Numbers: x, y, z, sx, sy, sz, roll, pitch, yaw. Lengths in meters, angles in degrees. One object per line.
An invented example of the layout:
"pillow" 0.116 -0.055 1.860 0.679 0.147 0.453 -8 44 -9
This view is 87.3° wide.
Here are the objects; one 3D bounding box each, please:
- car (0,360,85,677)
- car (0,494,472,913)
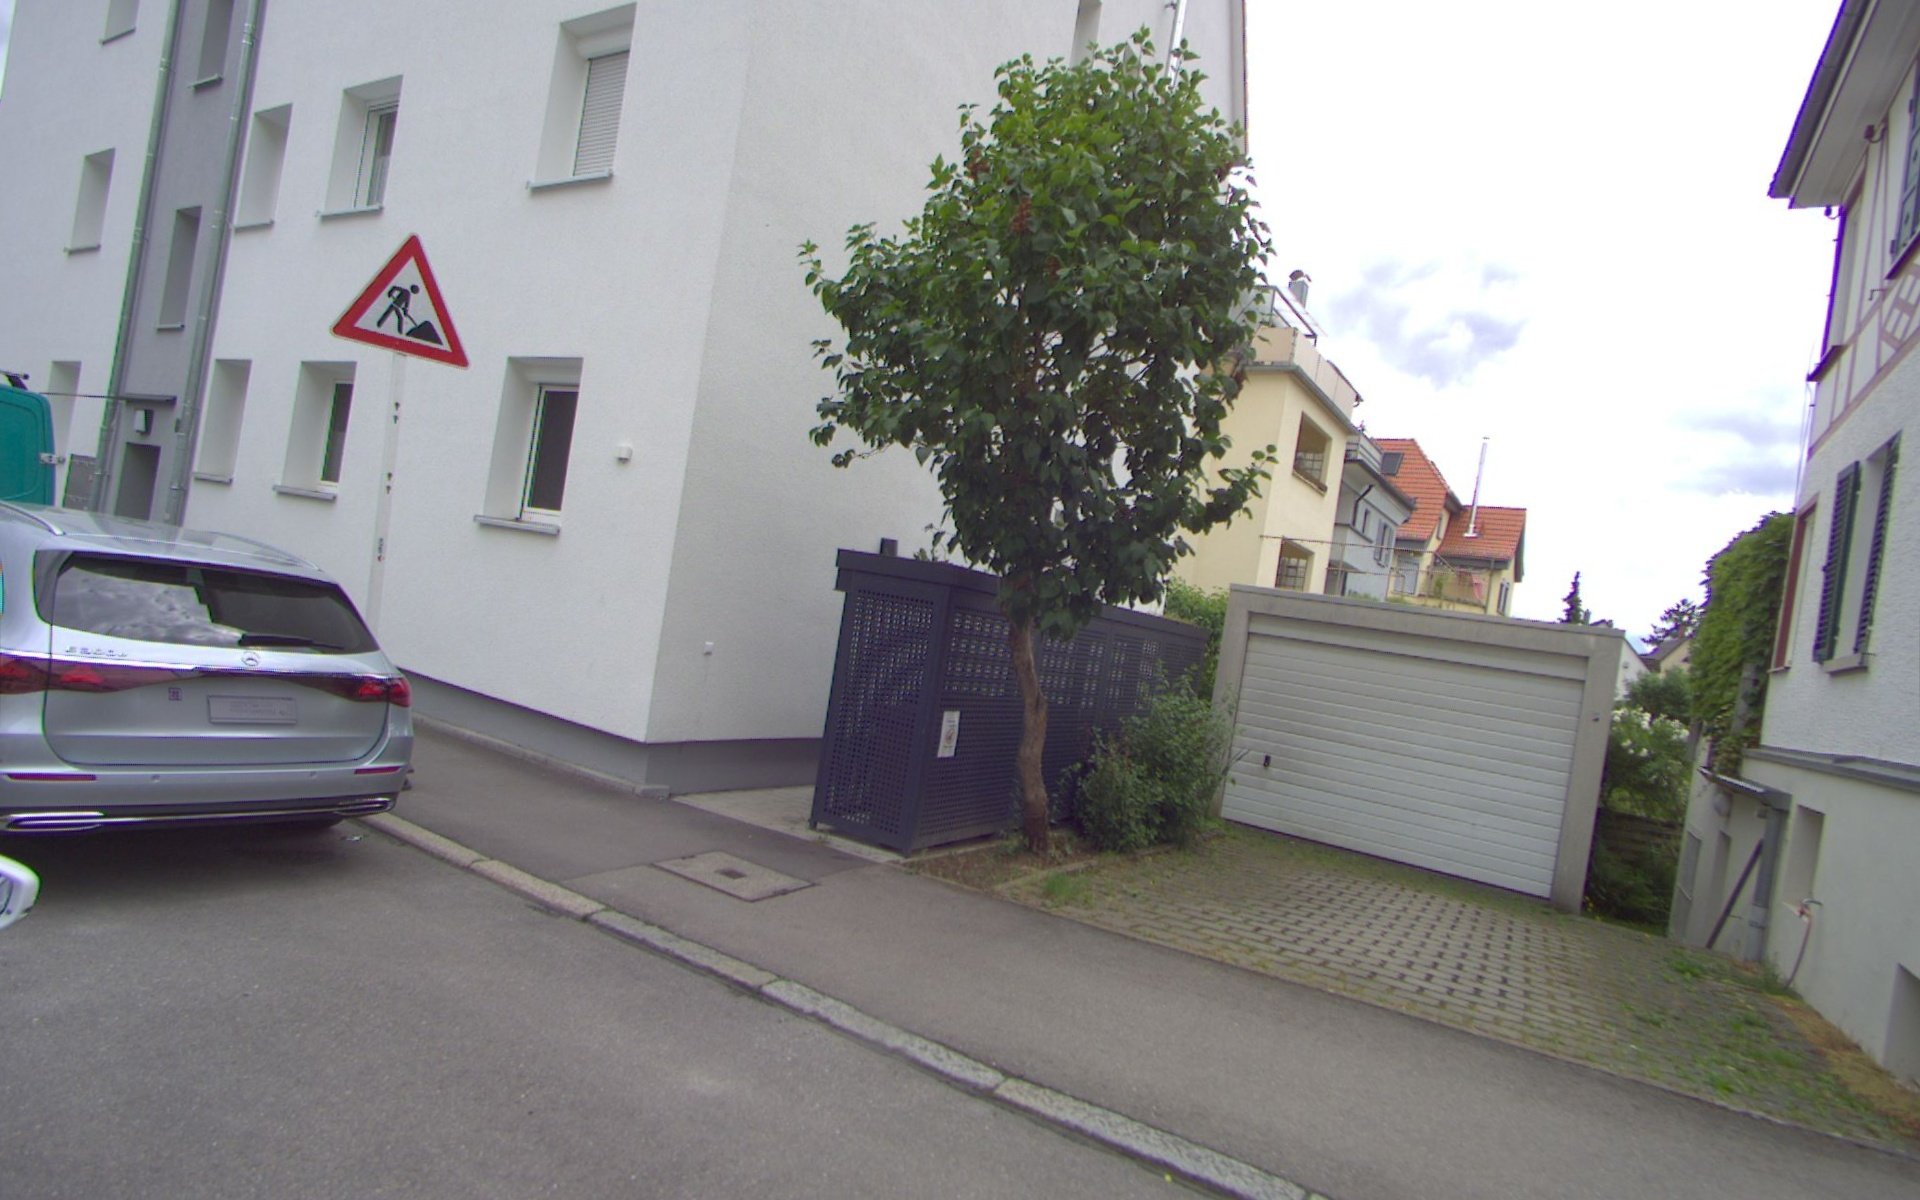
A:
"car" -9.988 -0.953 8.767 5.206 2.451 1.996 7 -1 33
"car" -4.751 0.240 5.282 4.311 1.461 1.828 7 -2 33
